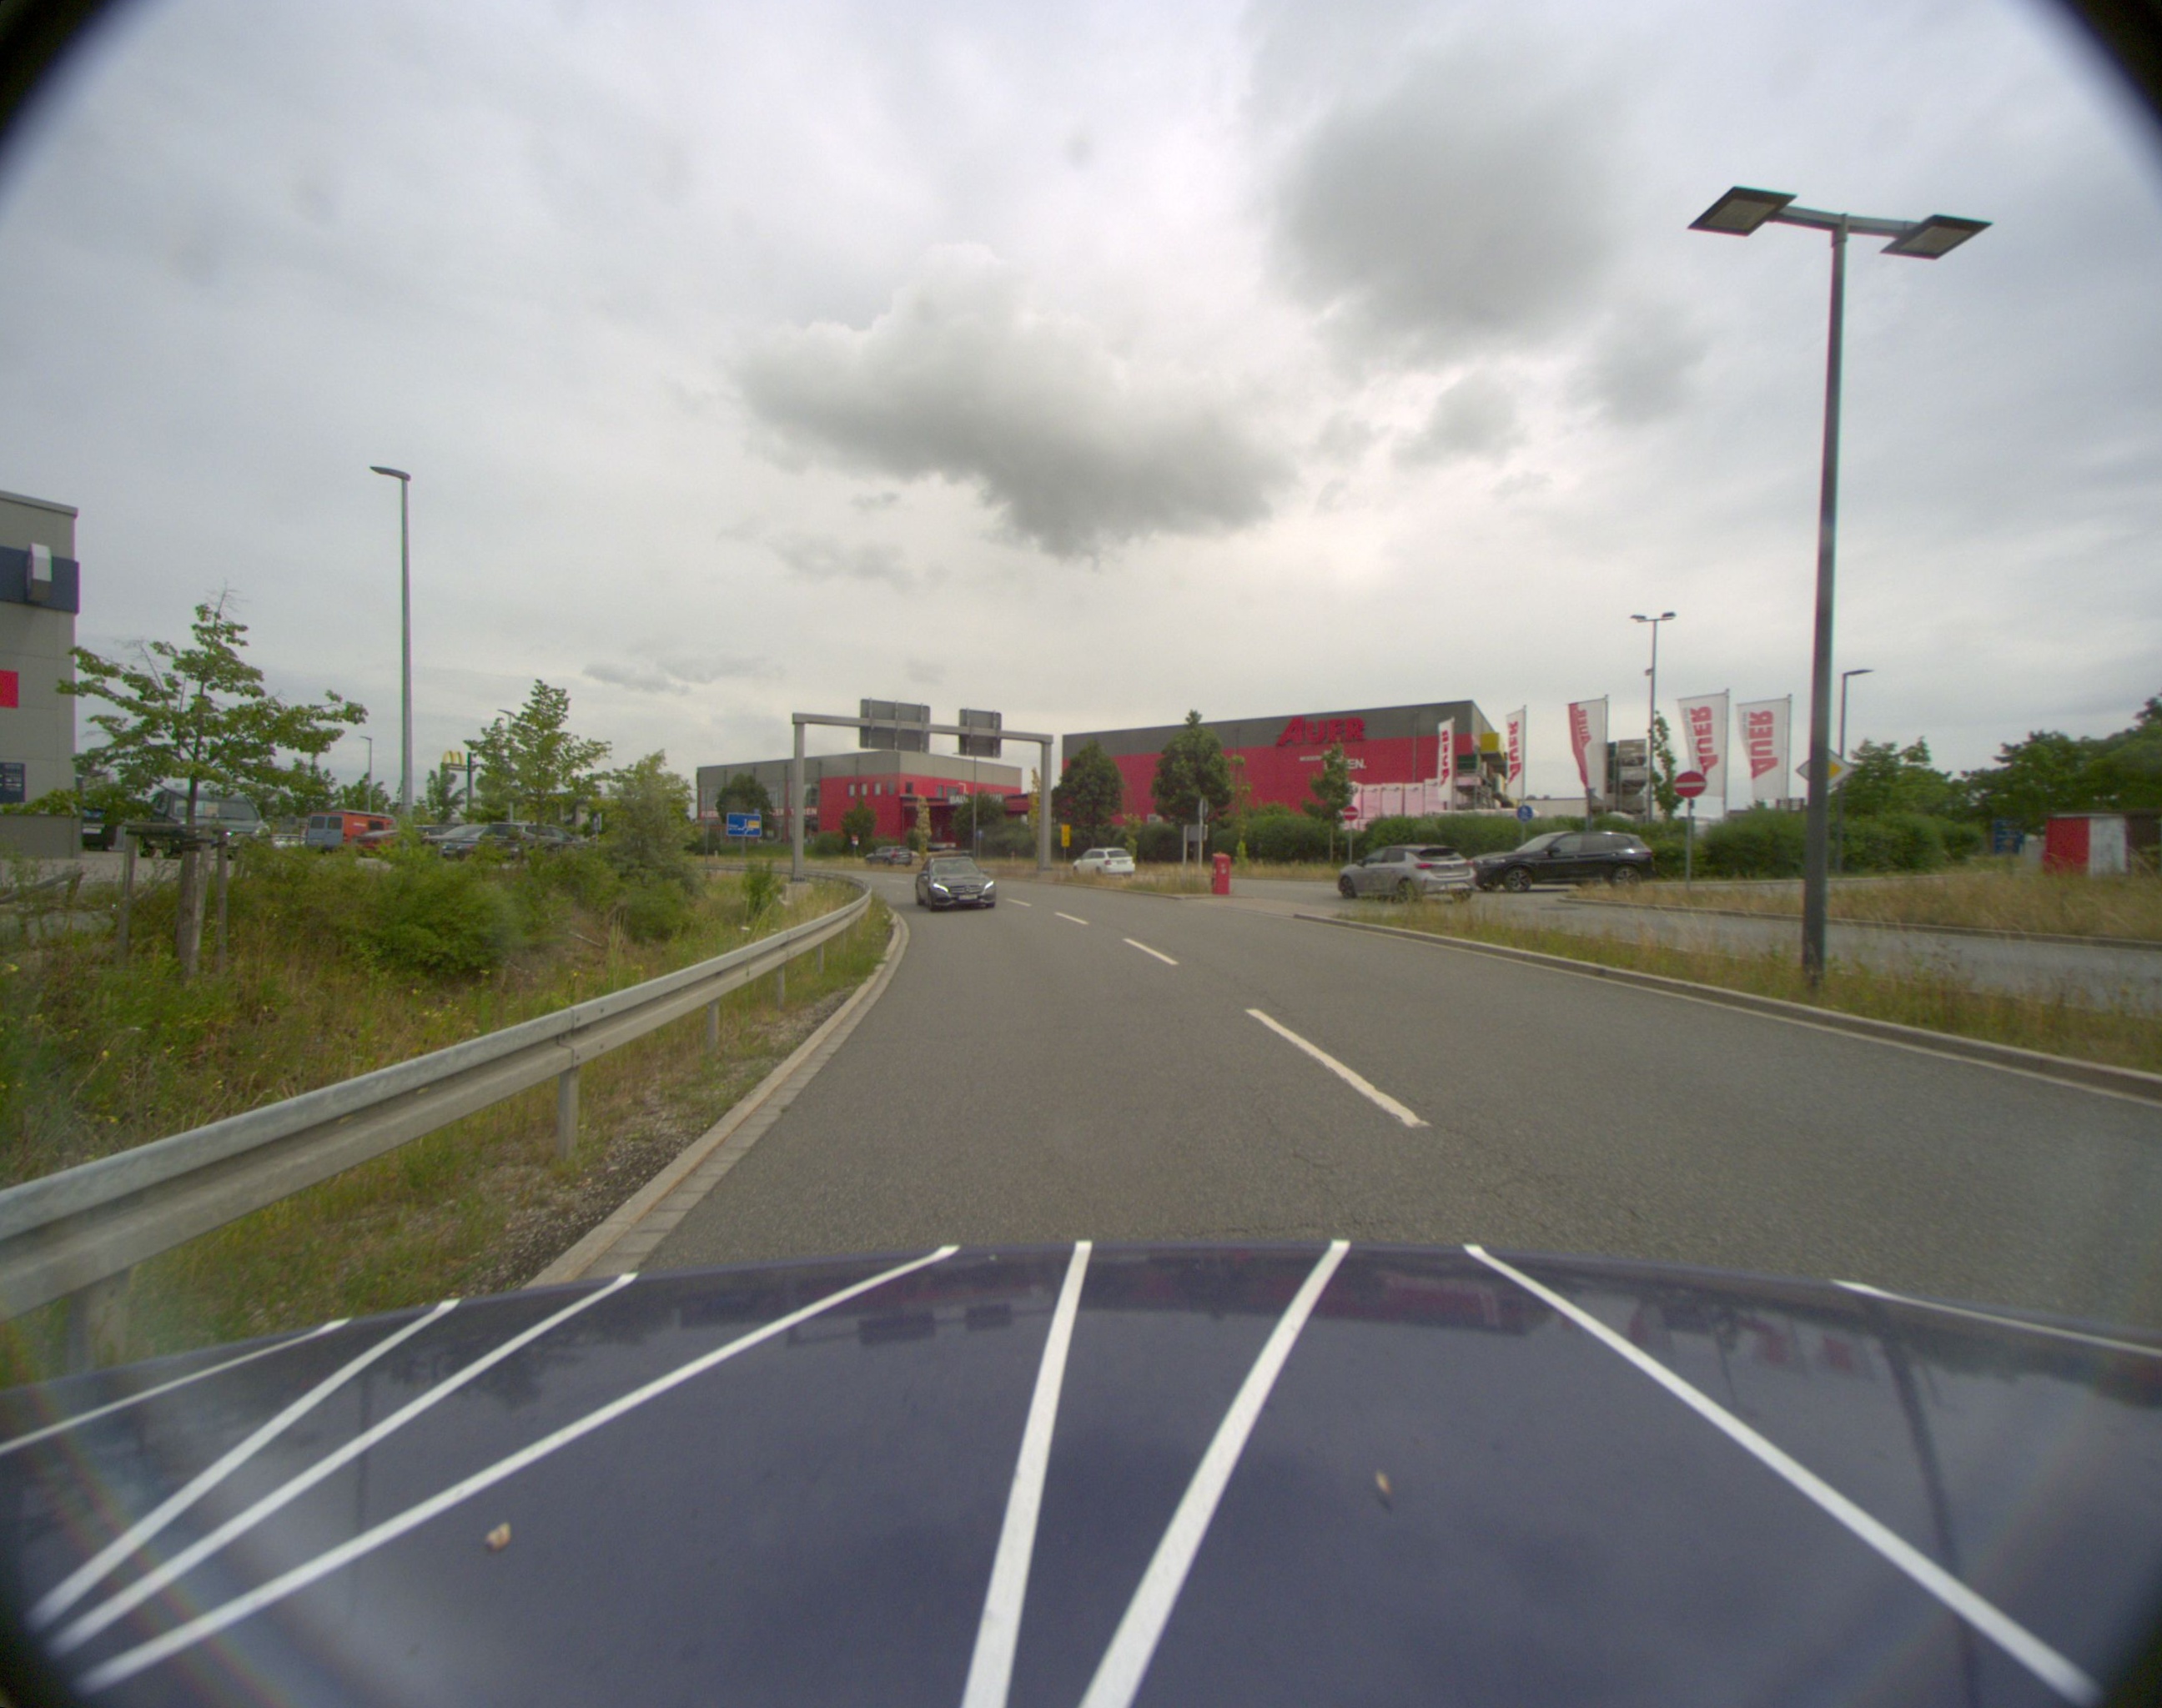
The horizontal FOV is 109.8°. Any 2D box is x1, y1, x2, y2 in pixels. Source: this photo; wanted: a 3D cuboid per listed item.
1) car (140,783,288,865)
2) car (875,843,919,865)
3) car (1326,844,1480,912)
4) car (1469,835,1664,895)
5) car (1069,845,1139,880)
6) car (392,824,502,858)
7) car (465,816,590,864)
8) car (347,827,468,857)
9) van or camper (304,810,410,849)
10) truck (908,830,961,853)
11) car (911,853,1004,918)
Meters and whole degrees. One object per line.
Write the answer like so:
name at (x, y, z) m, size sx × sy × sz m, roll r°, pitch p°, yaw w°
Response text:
car at (-21.553, -0.696, 18.860) m, size 3.959 × 1.800 × 1.709 m, roll 1°, pitch -2°, yaw 32°
car at (-14.303, -0.004, 58.832) m, size 1.818 × 1.620 × 4.675 m, roll -4°, pitch 2°, yaw -33°
car at (8.191, 0.521, 19.754) m, size 1.464 × 1.478 × 4.090 m, roll -5°, pitch 2°, yaw -14°
car at (13.492, 0.280, 21.334) m, size 4.251 × 1.541 × 1.873 m, roll -1°, pitch 1°, yaw 2°
car at (1.047, 0.388, 37.103) m, size 1.723 × 1.625 × 4.258 m, roll 0°, pitch 0°, yaw -25°
car at (-29.604, -0.608, 35.641) m, size 1.690 × 1.510 × 3.796 m, roll 0°, pitch 1°, yaw 8°
car at (-22.232, -0.609, 30.758) m, size 1.803 × 1.773 × 4.168 m, roll -2°, pitch 3°, yaw 2°
car at (-34.270, -0.623, 38.850) m, size 1.701 × 1.392 × 4.591 m, roll 1°, pitch 1°, yaw 8°
van or camper at (-39.458, -1.320, 41.606) m, size 1.814 × 1.986 × 4.671 m, roll -1°, pitch 1°, yaw -9°
truck at (-16.150, -1.428, 83.619) m, size 5.890 × 2.474 × 2.043 m, roll 1°, pitch 2°, yaw 33°
car at (-3.730, 0.816, 22.299) m, size 1.909 × 1.489 × 4.331 m, roll -5°, pitch 3°, yaw -18°
